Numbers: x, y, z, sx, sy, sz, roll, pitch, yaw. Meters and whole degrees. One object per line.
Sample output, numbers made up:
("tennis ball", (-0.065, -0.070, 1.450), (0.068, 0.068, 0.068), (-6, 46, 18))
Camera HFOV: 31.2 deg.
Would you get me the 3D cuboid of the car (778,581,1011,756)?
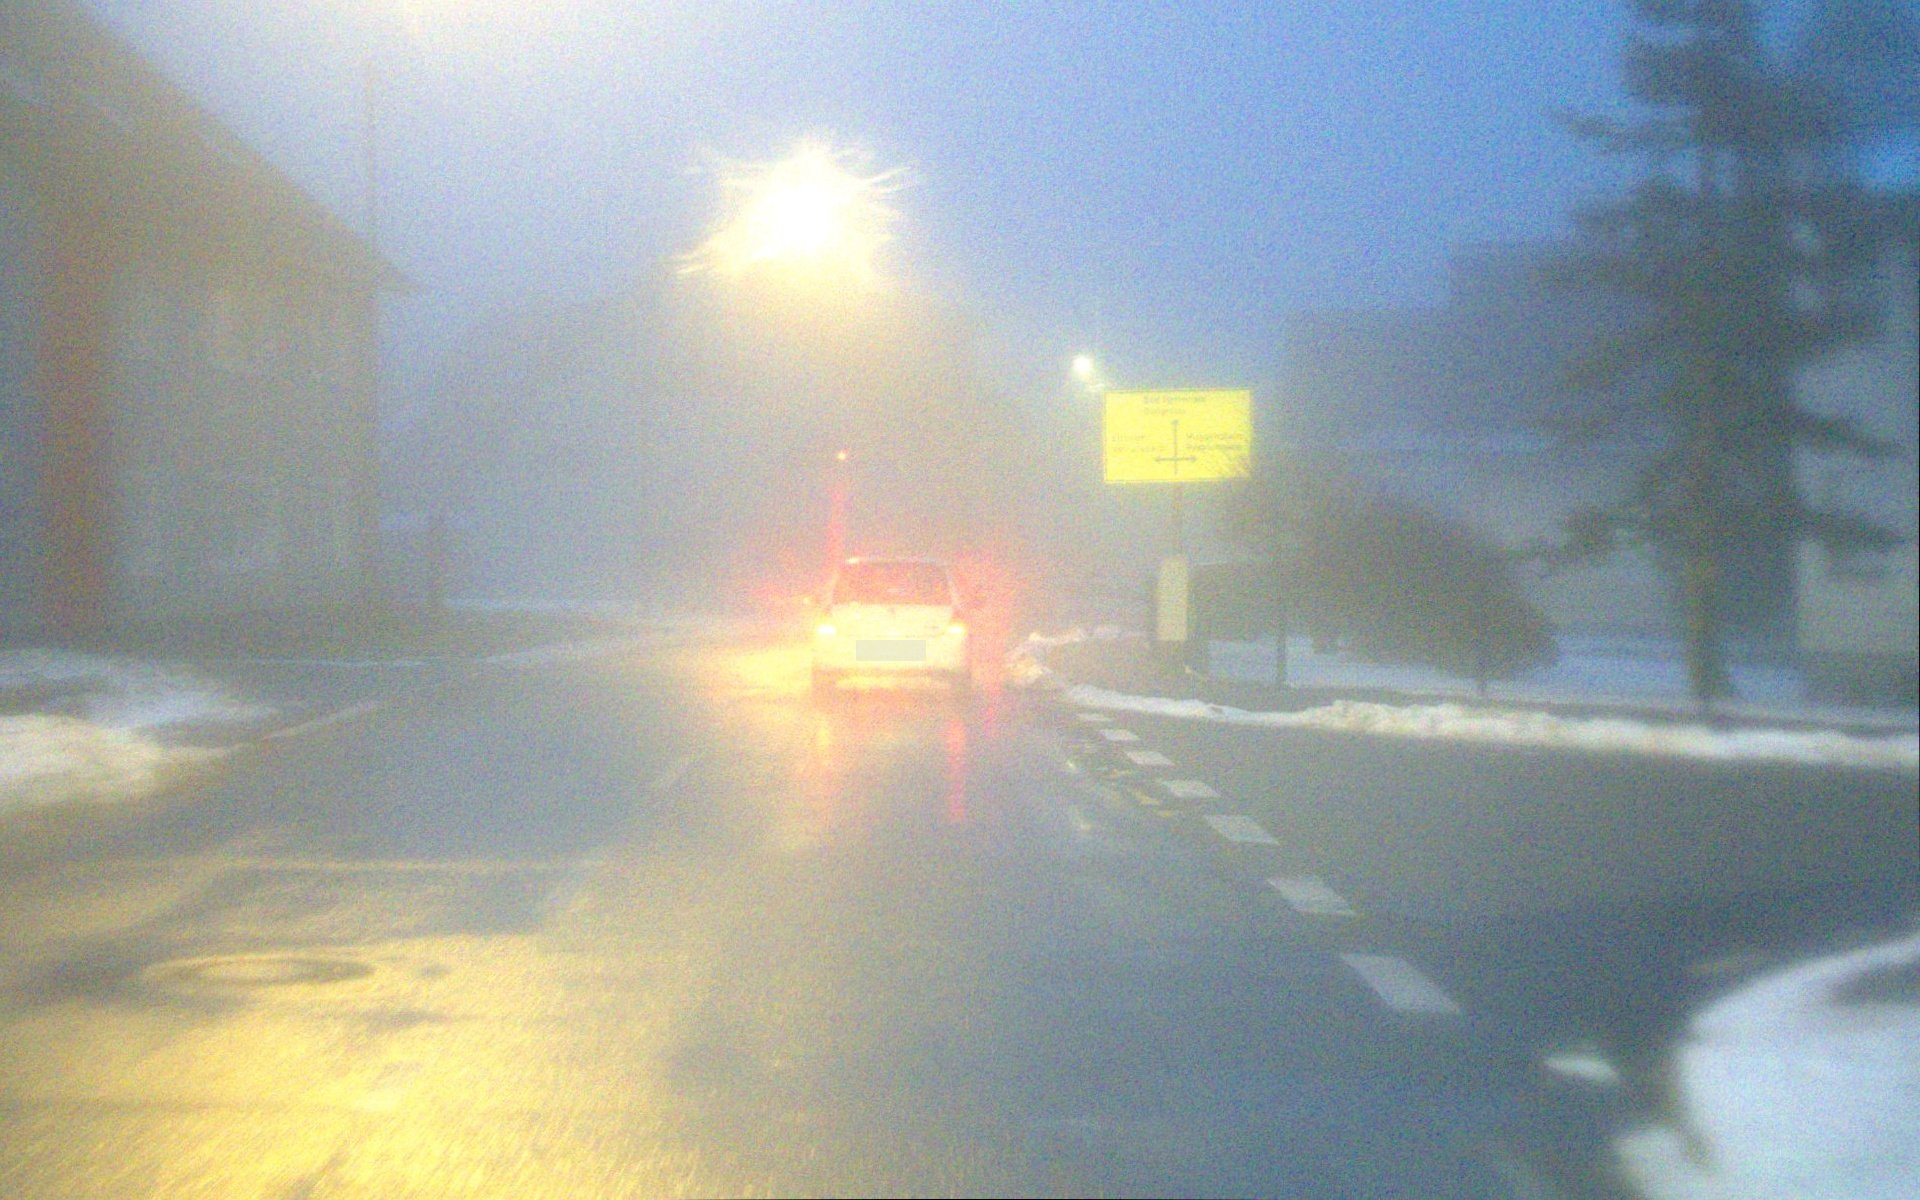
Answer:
("car", (-0.605, 0.657, 35.373), (1.994, 1.503, 4.000), (-2, 2, 4))
